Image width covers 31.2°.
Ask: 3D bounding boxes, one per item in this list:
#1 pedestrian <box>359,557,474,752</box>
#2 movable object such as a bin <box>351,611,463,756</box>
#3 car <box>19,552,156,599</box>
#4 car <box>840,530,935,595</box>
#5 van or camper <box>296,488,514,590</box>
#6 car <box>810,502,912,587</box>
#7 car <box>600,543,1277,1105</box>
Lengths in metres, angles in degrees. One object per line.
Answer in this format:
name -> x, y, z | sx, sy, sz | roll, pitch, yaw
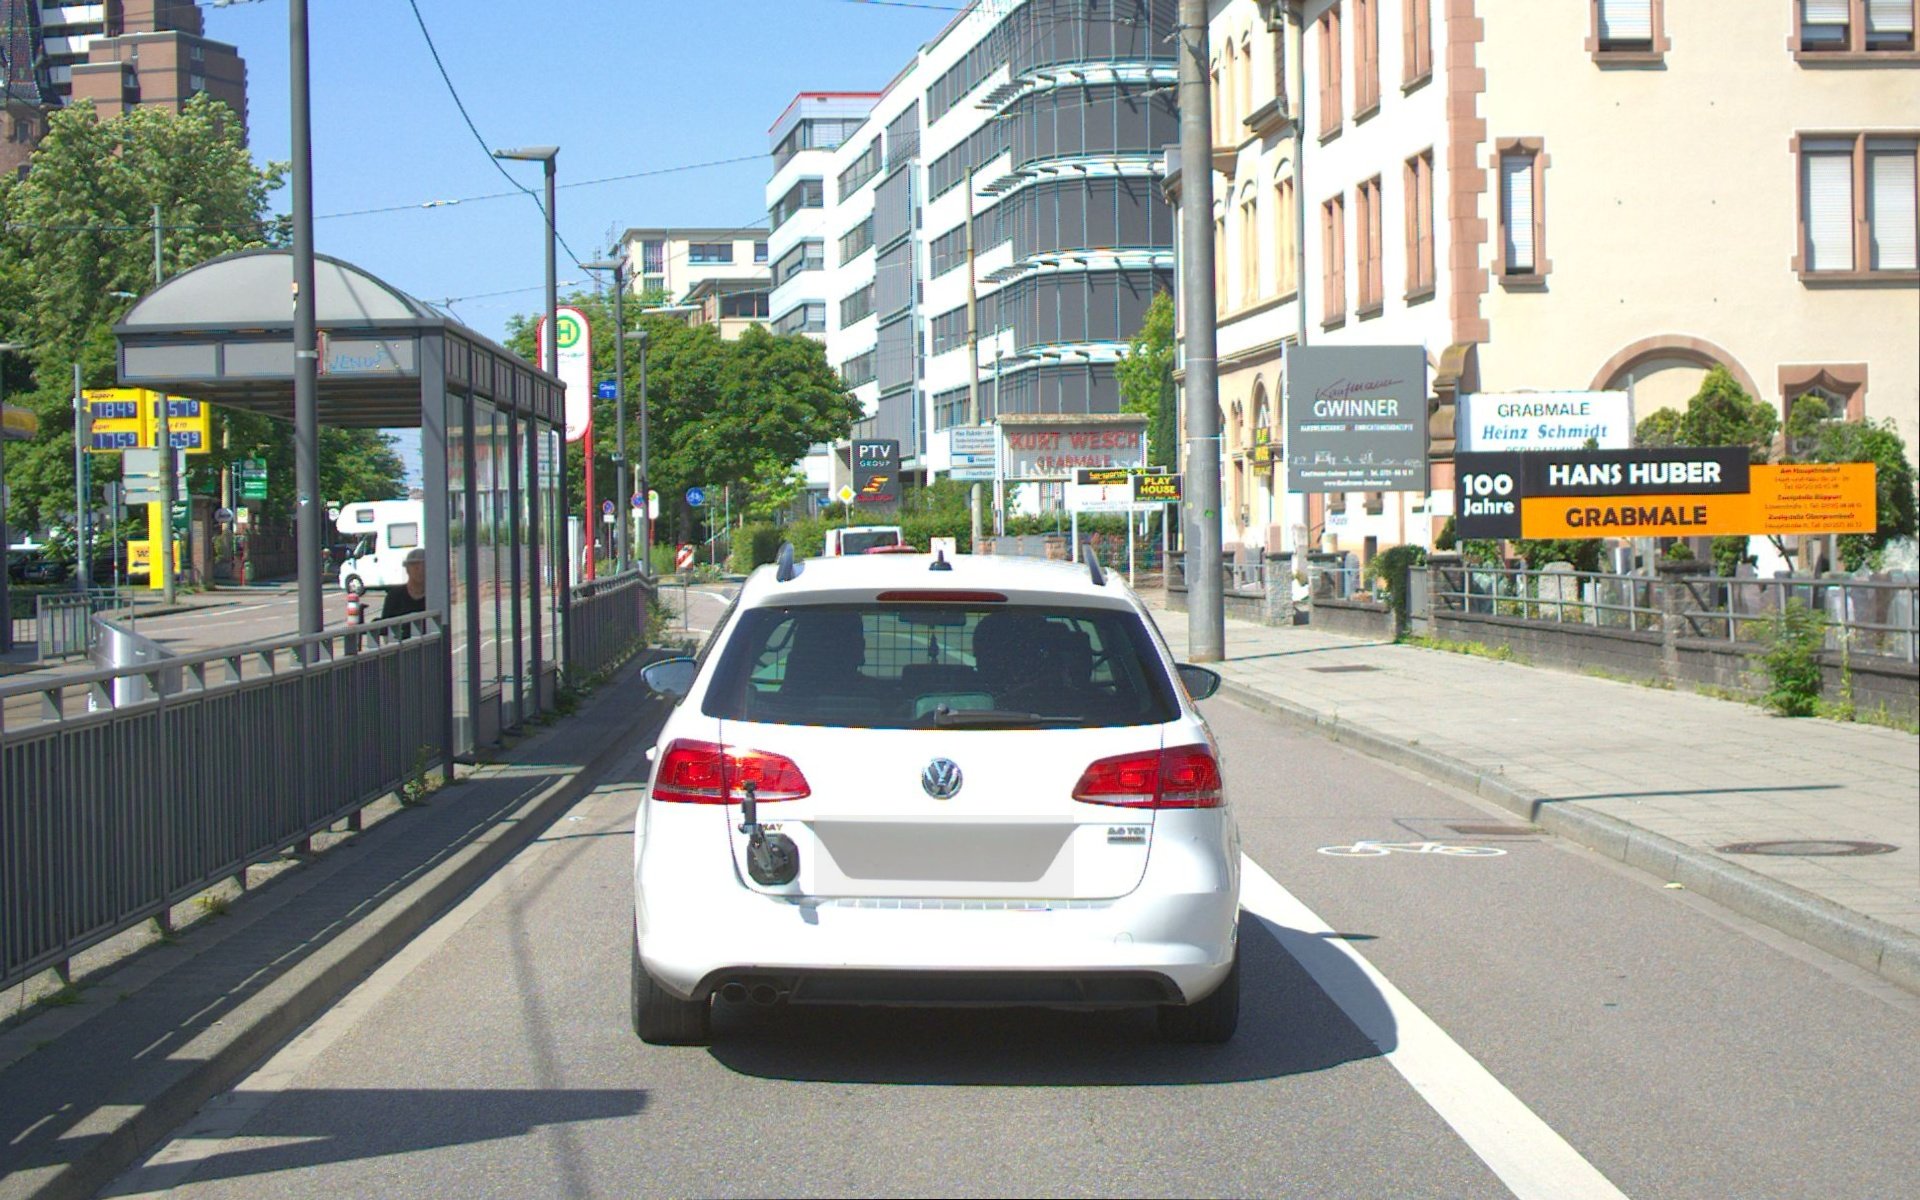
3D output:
pedestrian -> -3.590, 0.348, 22.747 | 0.629, 1.250, 0.710 | -2, 1, -2
movable object such as a bin -> -3.561, 0.531, 22.154 | 0.629, 0.897, 0.489 | -2, 1, -2
car -> -31.410, -0.905, 123.833 | 1.947, 1.619, 4.569 | 0, 1, 36
car -> -1.785, -0.905, 83.005 | 1.721, 1.438, 4.313 | -3, 1, -8
van or camper -> -17.319, -1.926, 107.071 | 6.705, 2.957, 2.611 | 2, 0, 36
car -> -2.619, -1.436, 89.334 | 1.976, 2.047, 5.192 | -3, 1, -8
car -> -0.129, 0.553, 11.221 | 1.753, 1.437, 4.413 | 1, 1, -2
